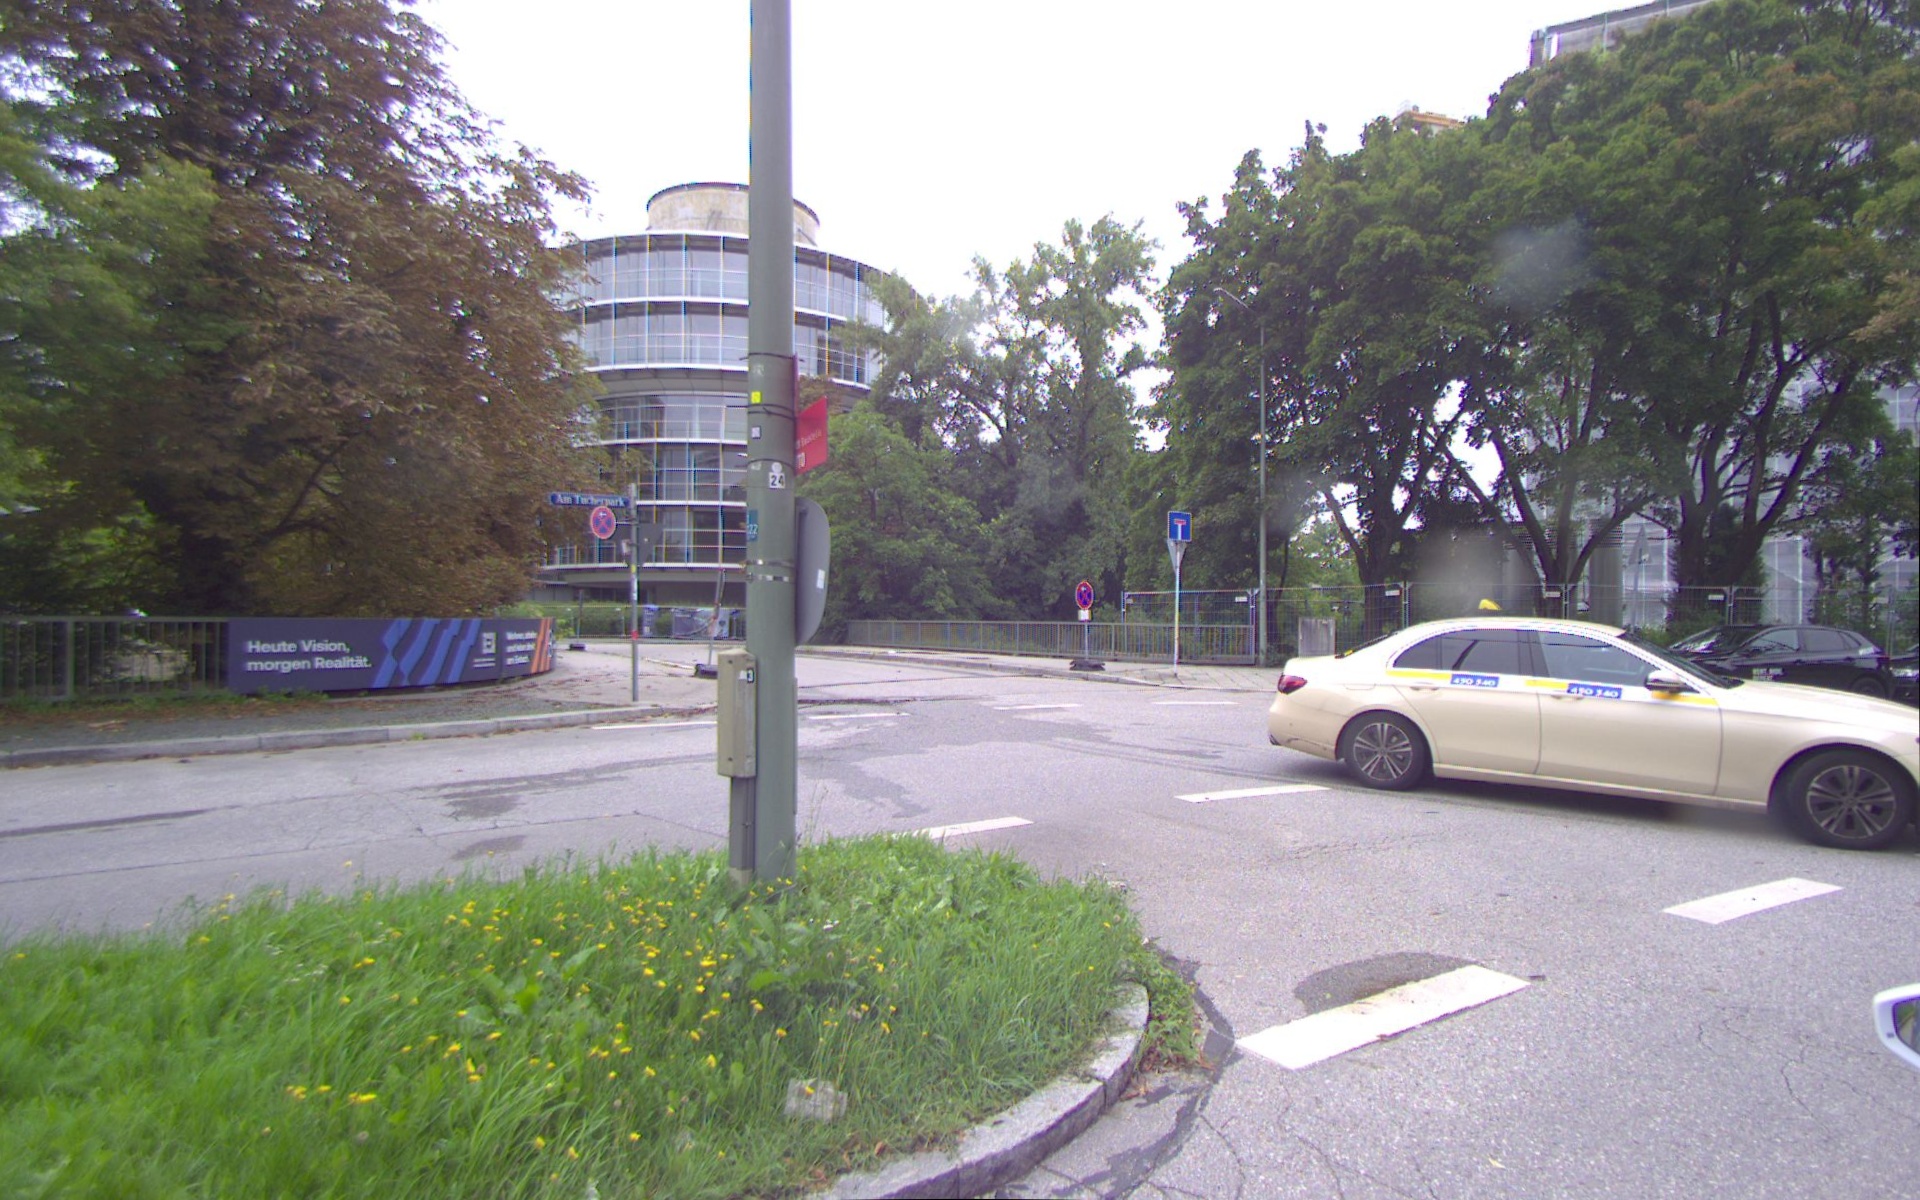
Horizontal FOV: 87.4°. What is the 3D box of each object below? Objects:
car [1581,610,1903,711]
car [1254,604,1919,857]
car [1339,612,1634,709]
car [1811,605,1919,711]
[{"bbox_3d":[13.152,0.996,17.114,3.920,1.561,2.001,1,-1,2],"label":"car"},{"bbox_3d":[5.068,0.839,8.201,4.777,1.566,1.886,0,-1,38],"label":"car"},{"bbox_3d":[8.812,0.983,17.124,3.962,1.452,2.000,1,1,2],"label":"car"},{"bbox_3d":[17.499,0.999,17.324,3.920,1.728,2.001,1,-1,2],"label":"car"}]
